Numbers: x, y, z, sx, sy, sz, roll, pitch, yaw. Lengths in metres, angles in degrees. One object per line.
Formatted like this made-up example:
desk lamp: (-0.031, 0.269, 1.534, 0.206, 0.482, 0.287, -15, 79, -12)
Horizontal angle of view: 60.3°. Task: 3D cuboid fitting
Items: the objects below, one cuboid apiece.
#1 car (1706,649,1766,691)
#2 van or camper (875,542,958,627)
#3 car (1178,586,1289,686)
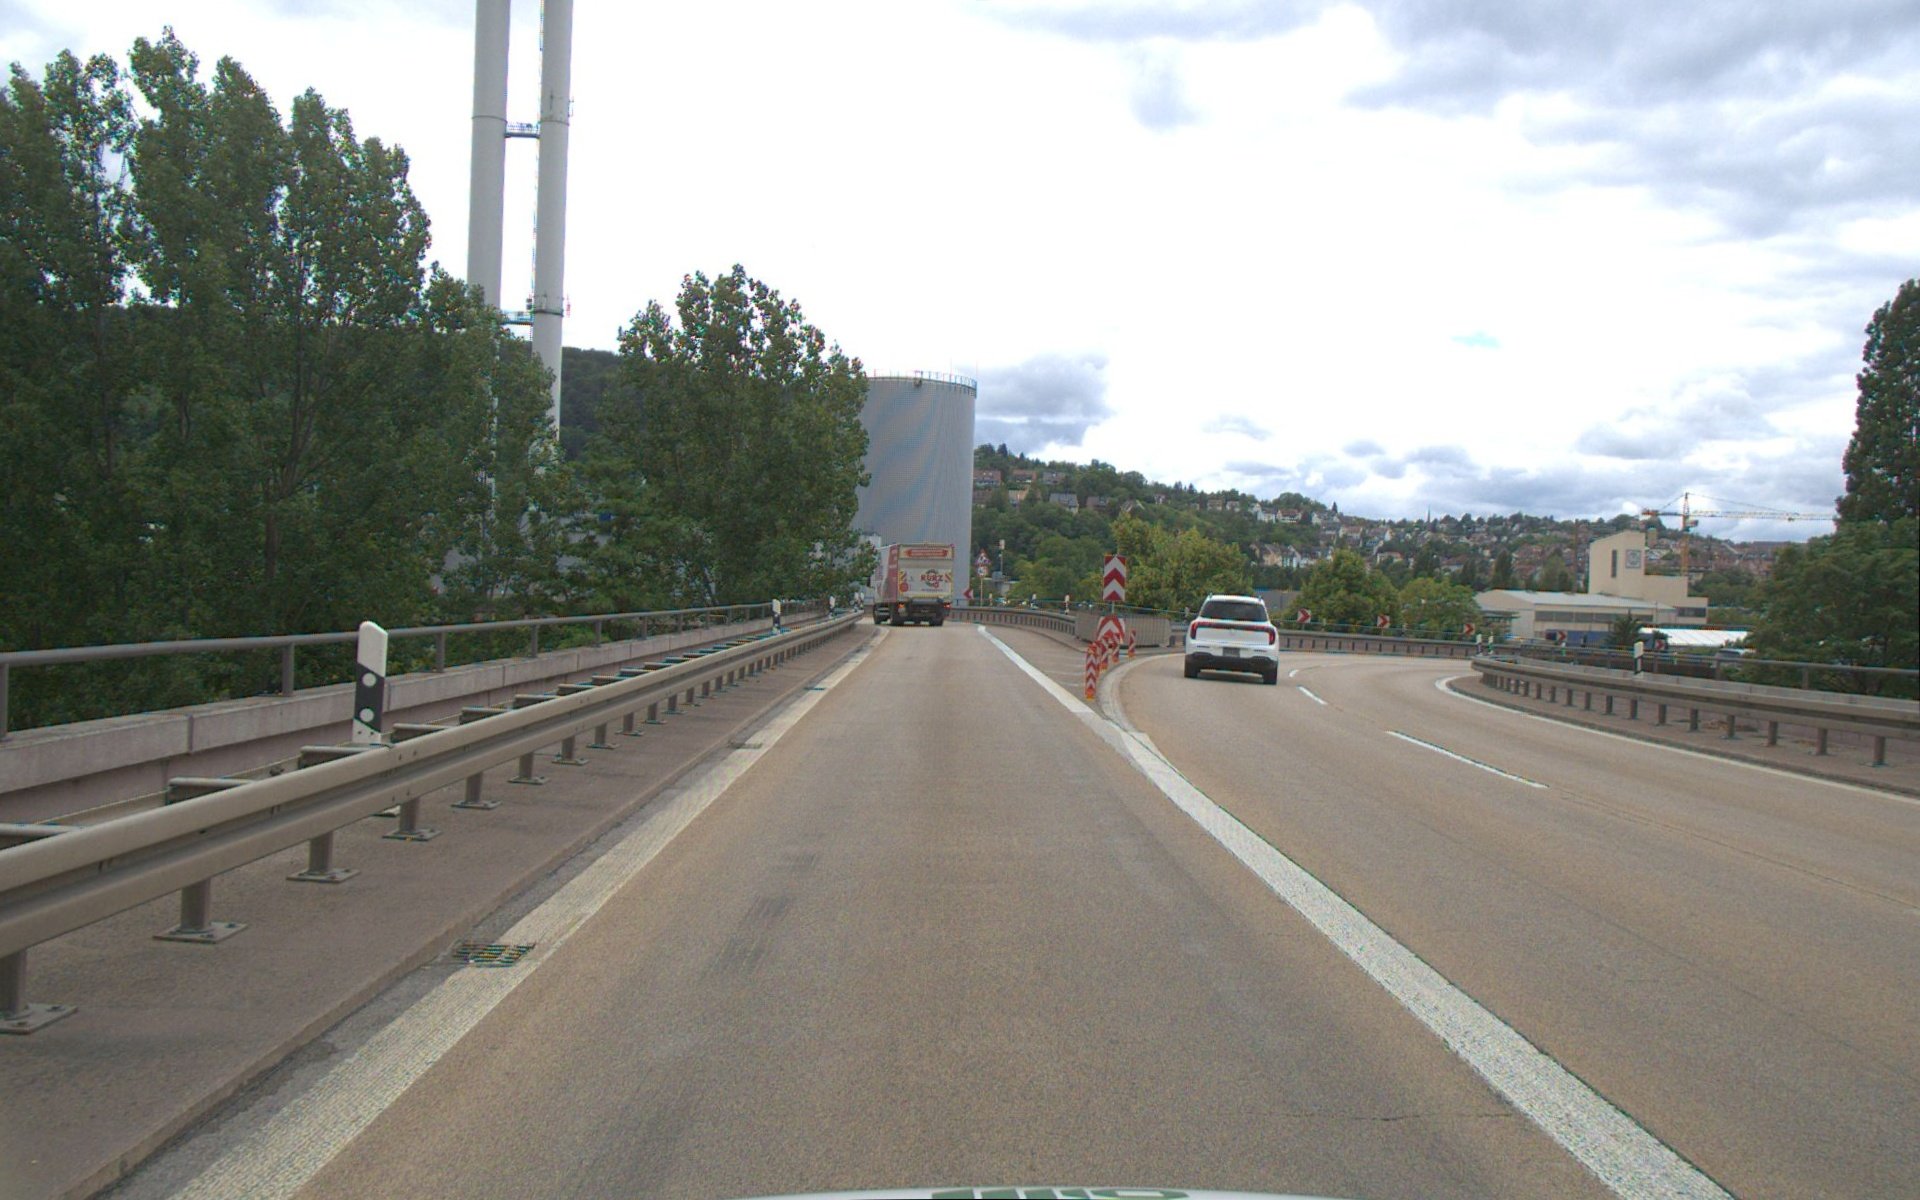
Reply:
car: (37.557, 3.358, 79.993, 1.892, 1.817, 4.097, 1, 0, 36)
van or camper: (-2.109, -0.673, 76.228, 3.062, 3.642, 8.537, 0, 0, -7)
car: (5.649, 0.667, 33.776, 1.883, 1.816, 4.116, 3, 1, 13)
